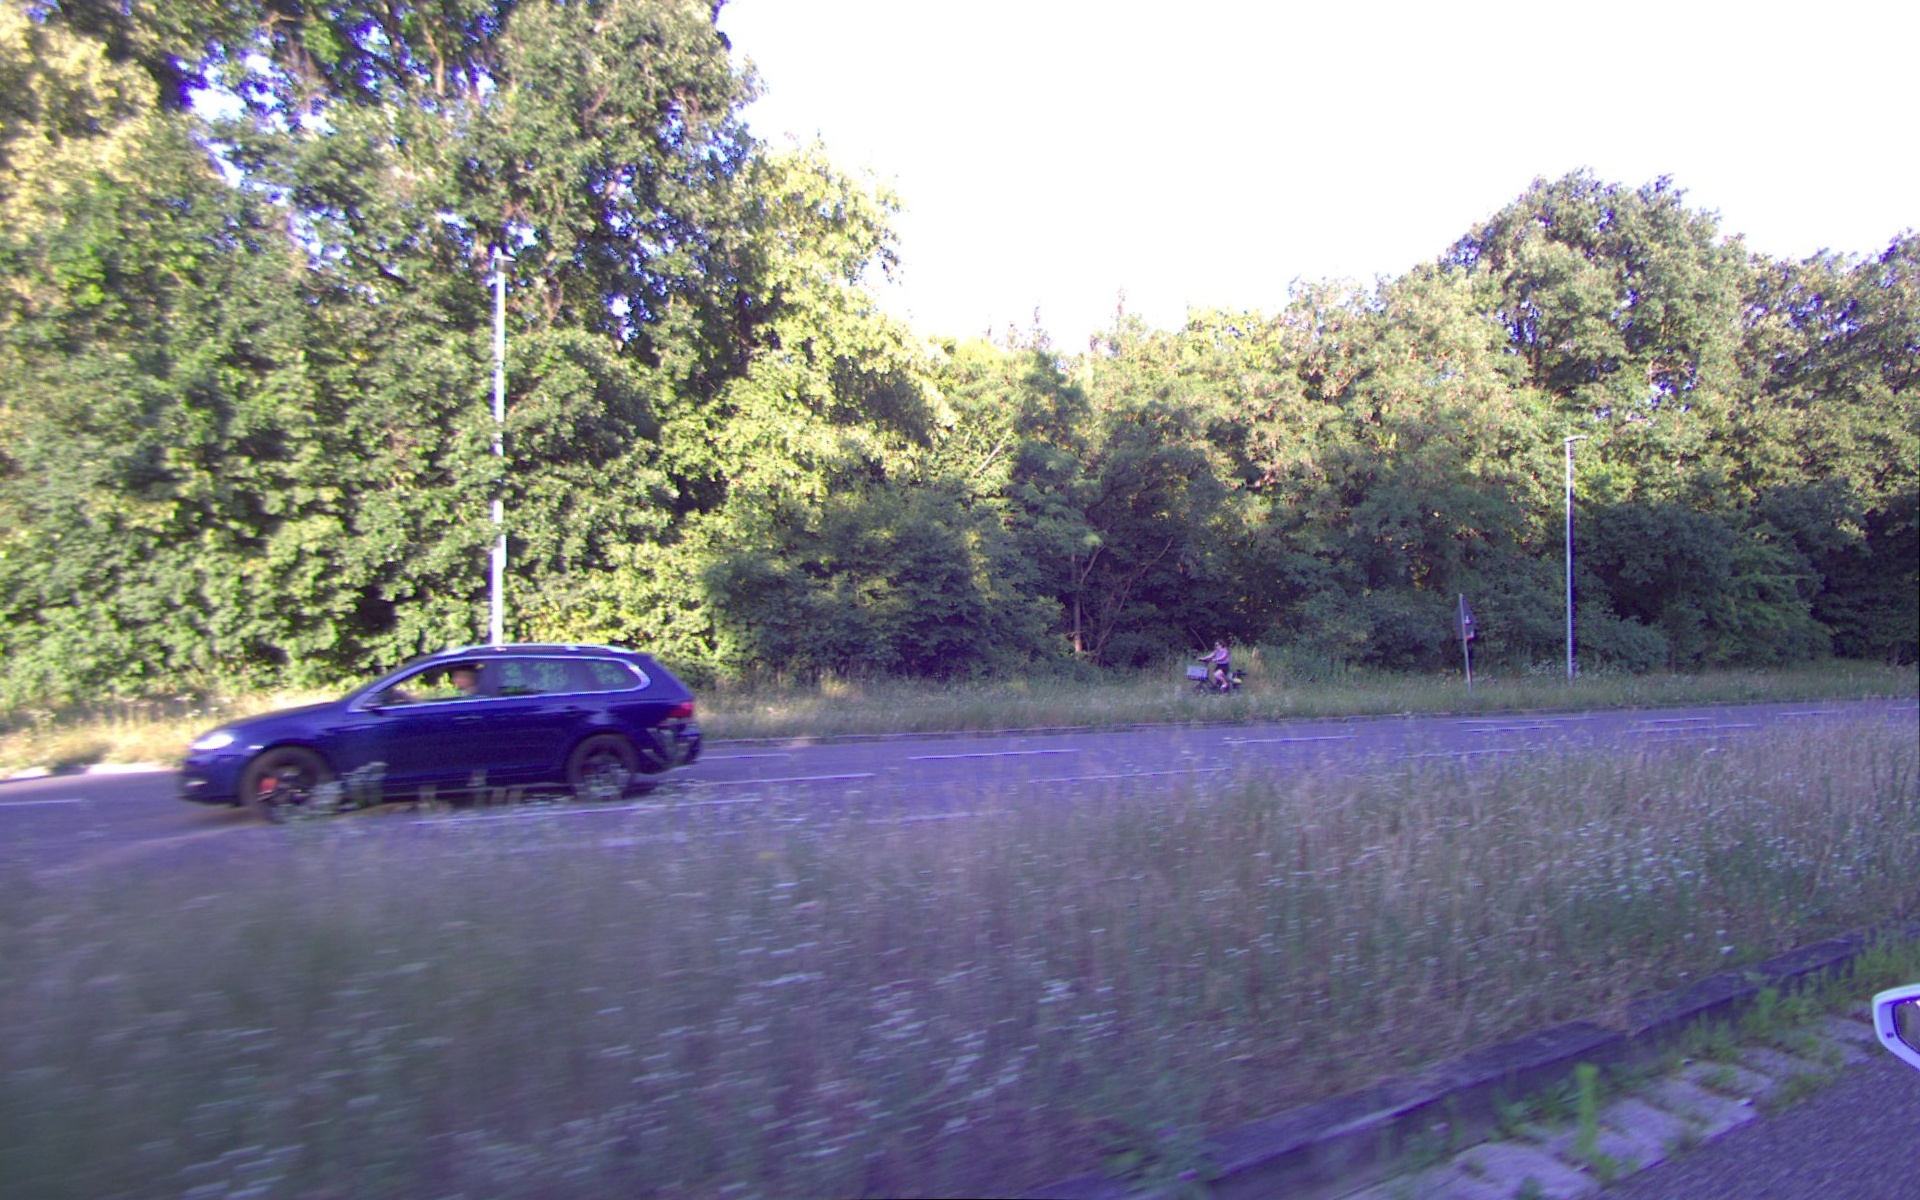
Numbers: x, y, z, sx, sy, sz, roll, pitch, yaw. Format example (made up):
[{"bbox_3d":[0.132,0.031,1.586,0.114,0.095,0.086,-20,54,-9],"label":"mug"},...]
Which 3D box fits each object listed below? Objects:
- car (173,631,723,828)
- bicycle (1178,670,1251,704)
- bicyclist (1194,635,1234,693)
[{"bbox_3d":[-4.745,1.142,9.868,4.401,1.553,1.812,2,-4,-29],"label":"car"},{"bbox_3d":[6.517,2.204,25.681,1.934,0.815,0.583,2,-3,-28],"label":"bicycle"},{"bbox_3d":[6.490,1.635,25.693,0.812,1.448,0.583,1,-2,-28],"label":"bicyclist"}]
